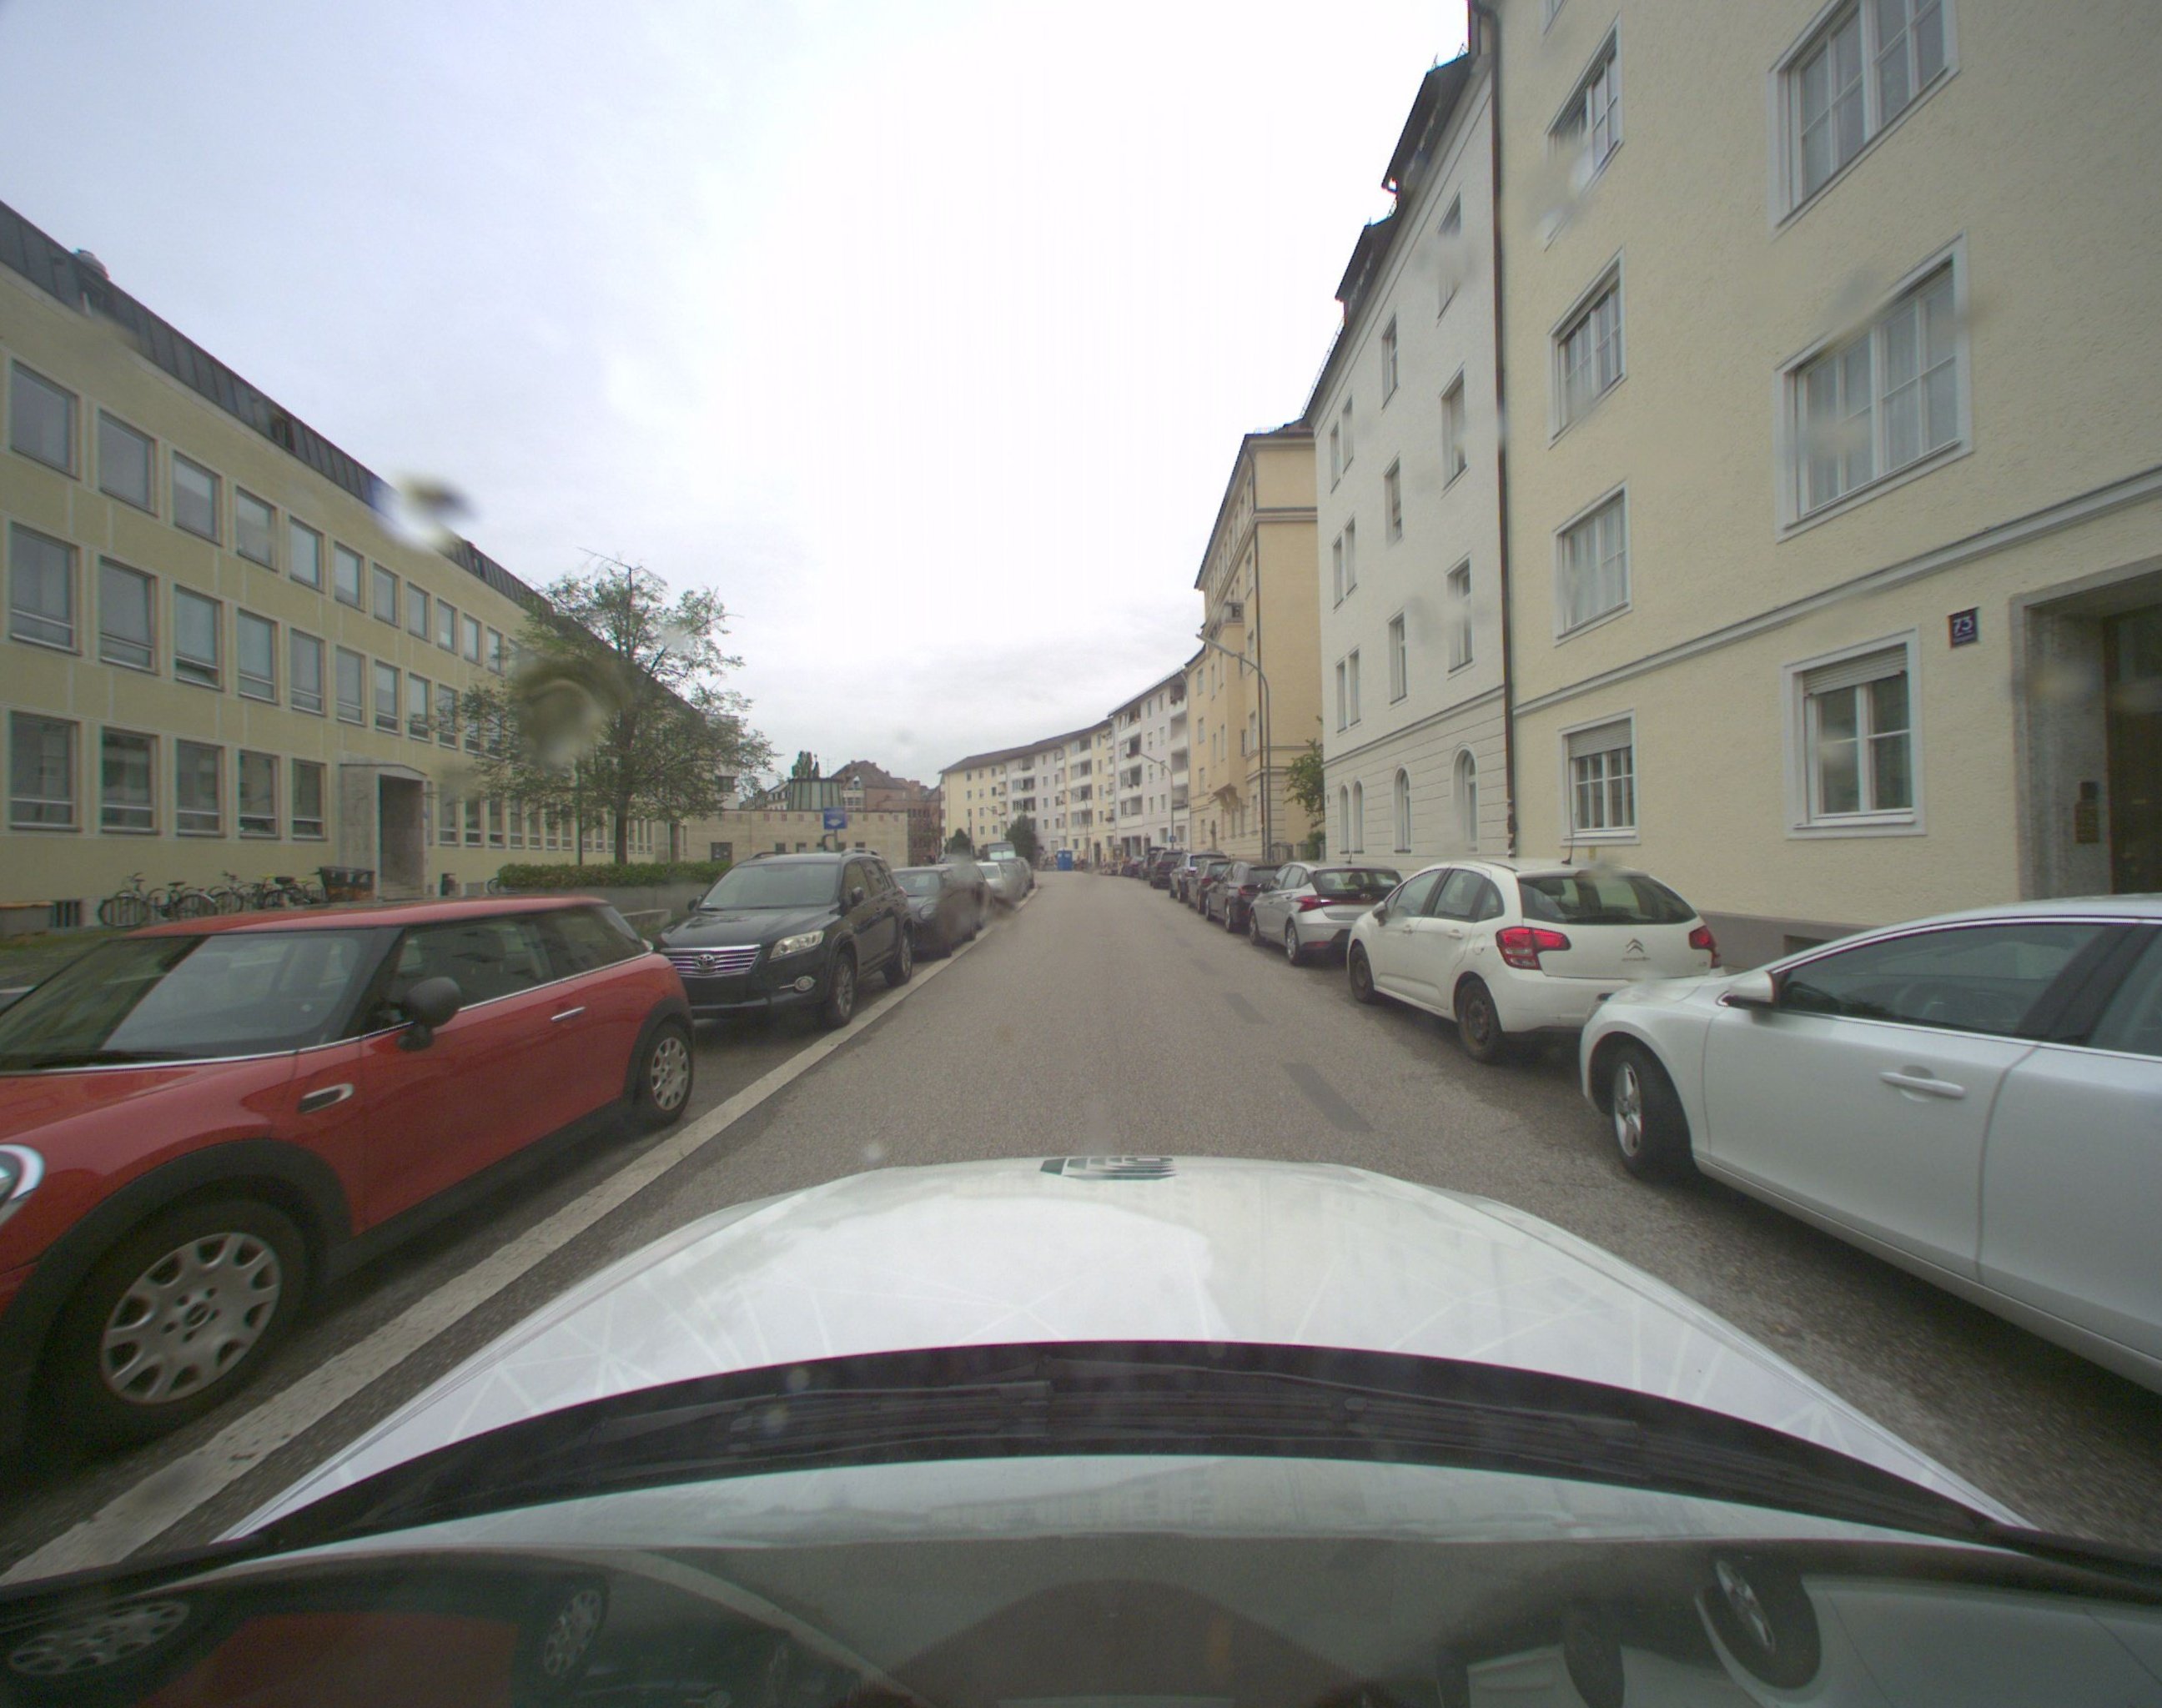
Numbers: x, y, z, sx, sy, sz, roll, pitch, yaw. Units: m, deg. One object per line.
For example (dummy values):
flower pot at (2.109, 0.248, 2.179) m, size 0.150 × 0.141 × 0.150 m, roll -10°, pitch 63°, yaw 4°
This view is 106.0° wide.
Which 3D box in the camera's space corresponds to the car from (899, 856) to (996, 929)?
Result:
car at (-3.002, 0.808, 19.009) m, size 1.626 × 1.494 × 4.099 m, roll 0°, pitch 0°, yaw -1°

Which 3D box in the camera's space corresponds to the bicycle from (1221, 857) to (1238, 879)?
bicycle at (7.702, 0.706, 42.270) m, size 0.500 × 1.049 × 2.139 m, roll -4°, pitch -1°, yaw 3°

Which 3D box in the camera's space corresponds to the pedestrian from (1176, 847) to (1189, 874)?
pedestrian at (6.588, 0.429, 52.724) m, size 0.615 × 1.690 × 0.919 m, roll -4°, pitch -1°, yaw 1°

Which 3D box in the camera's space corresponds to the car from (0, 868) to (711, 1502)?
car at (-3.370, 0.840, 3.408) m, size 1.798 × 1.406 × 3.710 m, roll -3°, pitch 0°, yaw 1°

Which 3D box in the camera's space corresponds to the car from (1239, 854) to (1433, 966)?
car at (3.743, 0.737, 12.733) m, size 1.719 × 1.450 × 4.187 m, roll 0°, pitch 0°, yaw 0°

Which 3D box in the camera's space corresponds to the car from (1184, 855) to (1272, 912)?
car at (3.975, 0.751, 22.636) m, size 1.821 × 1.450 × 4.085 m, roll 0°, pitch 0°, yaw 1°

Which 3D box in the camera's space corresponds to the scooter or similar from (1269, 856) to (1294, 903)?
scooter or similar at (5.374, 0.663, 21.867) m, size 0.425 × 1.230 × 1.048 m, roll -1°, pitch 0°, yaw 2°

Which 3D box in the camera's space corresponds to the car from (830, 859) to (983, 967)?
car at (-2.823, 0.881, 13.983) m, size 1.625 × 1.494 × 3.821 m, roll -4°, pitch 0°, yaw 1°

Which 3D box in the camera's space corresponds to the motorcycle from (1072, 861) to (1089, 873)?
motorcycle at (-0.041, 1.411, 86.736) m, size 0.936 × 1.221 × 2.488 m, roll 0°, pitch -1°, yaw -23°

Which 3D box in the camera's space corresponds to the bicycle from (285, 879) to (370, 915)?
bicycle at (-20.622, 1.155, 22.323) m, size 1.610 × 0.945 × 0.499 m, roll 1°, pitch -1°, yaw -23°

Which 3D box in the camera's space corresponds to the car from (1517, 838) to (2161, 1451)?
car at (3.386, 0.676, 2.615) m, size 1.719 × 1.430 × 4.294 m, roll 0°, pitch 0°, yaw 1°

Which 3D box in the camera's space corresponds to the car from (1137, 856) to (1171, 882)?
car at (4.267, 0.854, 48.038) m, size 1.626 × 1.417 × 3.677 m, roll 0°, pitch 0°, yaw -2°

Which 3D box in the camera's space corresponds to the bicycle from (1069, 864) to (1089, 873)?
bicycle at (-0.234, 1.709, 94.757) m, size 2.242 × 1.069 × 0.912 m, roll 0°, pitch -1°, yaw -23°

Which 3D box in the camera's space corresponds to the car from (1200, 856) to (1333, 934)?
car at (3.810, 0.780, 17.542) m, size 1.869 × 1.450 × 4.678 m, roll 0°, pitch 0°, yaw 1°

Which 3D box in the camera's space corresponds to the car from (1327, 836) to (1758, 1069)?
car at (3.682, 0.661, 7.430) m, size 1.646 × 1.544 × 3.992 m, roll 0°, pitch 0°, yaw -1°

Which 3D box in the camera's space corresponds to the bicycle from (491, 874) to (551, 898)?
bicycle at (-22.412, 1.268, 32.633) m, size 1.952 × 0.945 × 0.413 m, roll 0°, pitch -1°, yaw -12°

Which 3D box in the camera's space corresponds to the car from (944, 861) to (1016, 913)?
car at (-3.013, 0.938, 24.983) m, size 1.736 × 1.422 × 4.292 m, roll -1°, pitch 0°, yaw -1°

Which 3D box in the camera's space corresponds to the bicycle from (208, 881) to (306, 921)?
bicycle at (-20.196, 1.151, 19.987) m, size 1.608 × 0.945 × 0.500 m, roll 0°, pitch -1°, yaw -18°

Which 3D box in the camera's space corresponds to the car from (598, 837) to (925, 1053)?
car at (-3.016, 0.750, 8.732) m, size 1.708 × 1.689 × 4.142 m, roll -3°, pitch 0°, yaw 1°

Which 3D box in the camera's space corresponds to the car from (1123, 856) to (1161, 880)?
car at (4.021, 0.890, 54.311) m, size 1.904 × 1.477 × 4.941 m, roll 0°, pitch 0°, yaw -3°

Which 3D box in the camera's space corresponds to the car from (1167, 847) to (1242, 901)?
car at (4.077, 0.628, 27.562) m, size 1.840 × 1.663 × 4.497 m, roll 0°, pitch 0°, yaw 0°

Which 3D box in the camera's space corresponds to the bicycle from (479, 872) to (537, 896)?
bicycle at (-23.317, 1.221, 33.167) m, size 1.862 × 0.945 × 0.412 m, roll 0°, pitch -1°, yaw -18°

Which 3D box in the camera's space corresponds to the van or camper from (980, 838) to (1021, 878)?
van or camper at (-5.556, 0.245, 55.421) m, size 2.297 × 2.581 × 6.064 m, roll 0°, pitch 0°, yaw -10°

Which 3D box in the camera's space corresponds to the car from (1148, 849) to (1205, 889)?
car at (4.347, 0.653, 37.826) m, size 2.162 × 1.739 × 5.025 m, roll 0°, pitch 0°, yaw 1°

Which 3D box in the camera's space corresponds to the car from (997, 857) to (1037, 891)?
car at (-3.114, 0.948, 40.239) m, size 1.770 × 1.465 × 4.460 m, roll -3°, pitch 0°, yaw -4°

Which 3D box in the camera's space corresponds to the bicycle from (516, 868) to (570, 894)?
bicycle at (-23.725, 1.191, 35.937) m, size 1.849 × 1.096 × 0.699 m, roll 0°, pitch -1°, yaw -16°

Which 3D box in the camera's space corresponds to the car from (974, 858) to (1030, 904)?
car at (-2.884, 0.942, 30.316) m, size 1.626 × 1.494 × 4.273 m, roll -4°, pitch 0°, yaw -1°

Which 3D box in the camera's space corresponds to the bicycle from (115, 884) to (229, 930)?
bicycle at (-19.797, 1.146, 17.760) m, size 1.608 × 0.945 × 0.500 m, roll 0°, pitch -1°, yaw -18°

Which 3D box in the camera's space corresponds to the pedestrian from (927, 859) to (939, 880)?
pedestrian at (-13.212, 1.395, 72.662) m, size 0.847 × 1.866 × 0.707 m, roll 0°, pitch -1°, yaw -27°
